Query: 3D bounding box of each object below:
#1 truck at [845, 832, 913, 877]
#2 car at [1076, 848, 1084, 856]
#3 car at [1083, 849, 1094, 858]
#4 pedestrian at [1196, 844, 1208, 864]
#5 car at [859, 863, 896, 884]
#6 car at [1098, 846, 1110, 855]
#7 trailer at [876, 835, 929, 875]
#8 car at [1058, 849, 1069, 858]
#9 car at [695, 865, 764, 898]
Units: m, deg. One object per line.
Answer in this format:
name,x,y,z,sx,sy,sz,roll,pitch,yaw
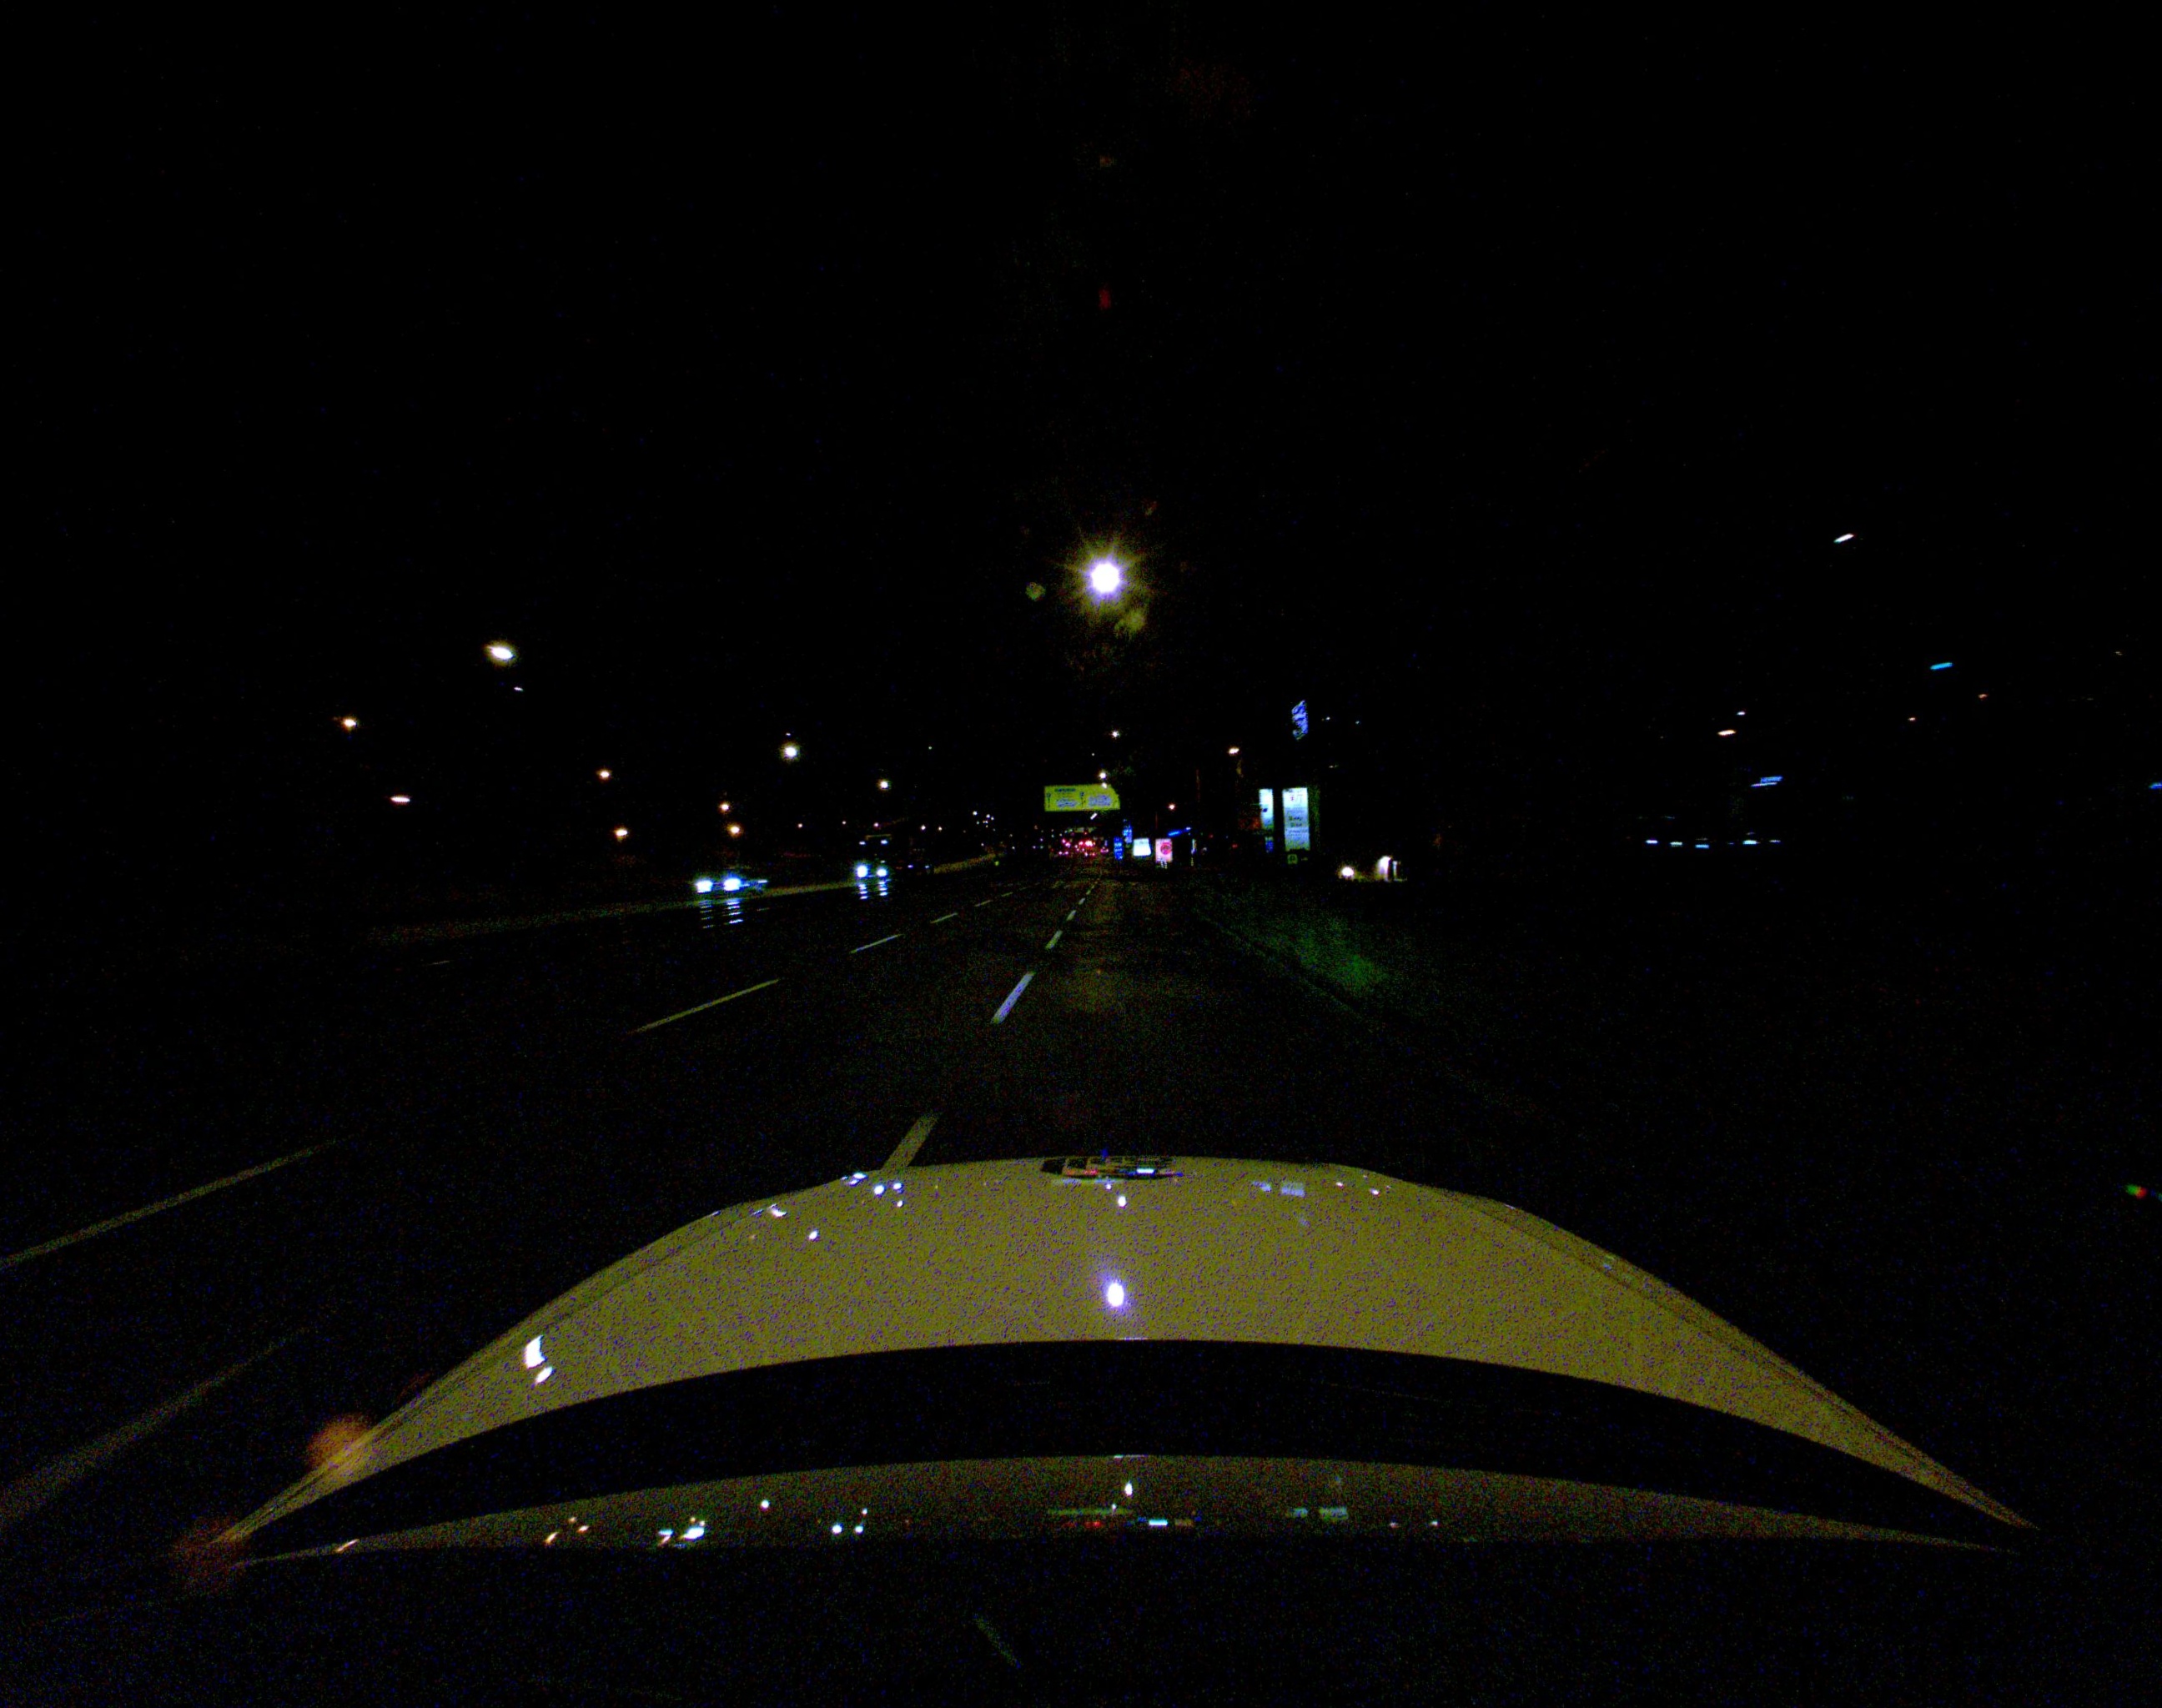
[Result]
truck,-18.615,0.088,76.010,3.669,3.954,10.419,0,-1,0
car,-0.131,-0.473,192.103,1.776,1.711,4.001,0,-1,2
car,1.421,-0.041,154.519,1.960,1.711,4.001,0,-1,2
pedestrian,10.323,0.024,69.372,0.850,1.707,0.957,0,-1,0
car,-15.495,1.463,62.158,1.799,1.499,4.083,-2,0,-1
car,5.425,-0.829,189.895,2.641,2.014,5.301,0,-1,2
trailer,-18.574,0.138,85.429,3.684,3.990,8.394,0,-1,0
car,-3.379,-0.006,159.844,1.960,1.711,4.001,0,-1,2
car,-18.362,1.414,42.726,1.719,1.625,3.964,0,-1,2
